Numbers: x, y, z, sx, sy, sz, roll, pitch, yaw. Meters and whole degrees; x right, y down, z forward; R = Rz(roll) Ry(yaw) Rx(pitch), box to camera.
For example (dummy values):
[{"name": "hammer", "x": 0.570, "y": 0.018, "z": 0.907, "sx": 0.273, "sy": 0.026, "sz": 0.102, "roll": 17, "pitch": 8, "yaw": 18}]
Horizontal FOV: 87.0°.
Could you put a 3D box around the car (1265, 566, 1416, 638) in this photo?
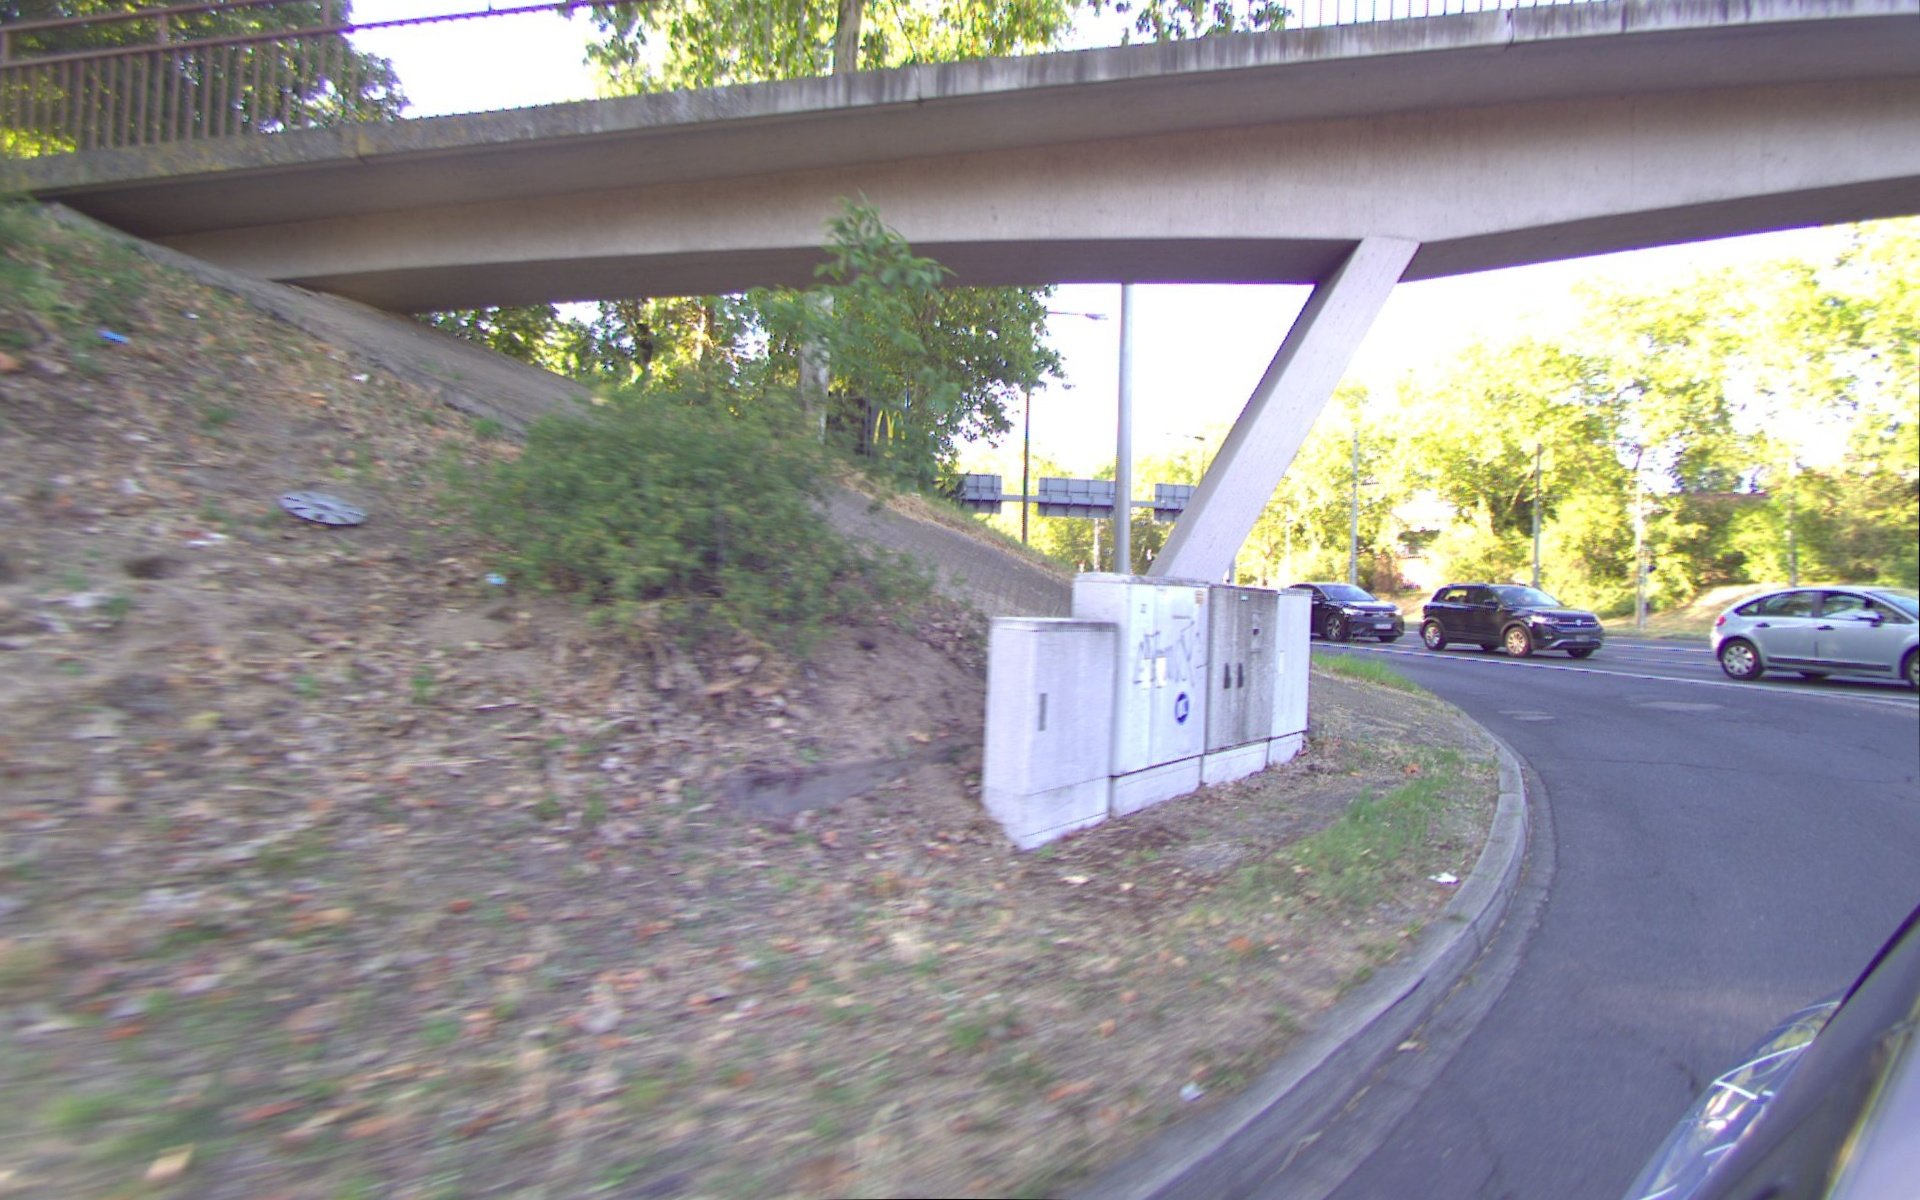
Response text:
[{"name": "car", "x": 10.423, "y": 0.054, "z": 28.068, "sx": 1.760, "sy": 1.772, "sz": 4.249, "roll": 3, "pitch": -1, "yaw": -13}]

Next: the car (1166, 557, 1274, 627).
[{"name": "car", "x": 8.708, "y": -0.245, "z": 34.216, "sx": 1.760, "sy": 2.132, "sz": 4.008, "roll": 3, "pitch": -1, "yaw": -14}]

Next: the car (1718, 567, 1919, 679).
[{"name": "car", "x": 13.502, "y": 0.349, "z": 14.489, "sx": 1.760, "sy": 1.500, "sz": 4.008, "roll": 3, "pitch": -1, "yaw": -13}]

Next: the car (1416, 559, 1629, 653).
[{"name": "car", "x": 12.082, "y": 0.122, "z": 22.082, "sx": 1.760, "sy": 1.772, "sz": 4.008, "roll": 3, "pitch": -1, "yaw": -13}]

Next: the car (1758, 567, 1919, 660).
[{"name": "car", "x": 16.939, "y": 0.266, "z": 17.969, "sx": 1.633, "sy": 1.585, "sz": 4.198, "roll": 3, "pitch": -1, "yaw": -13}]
